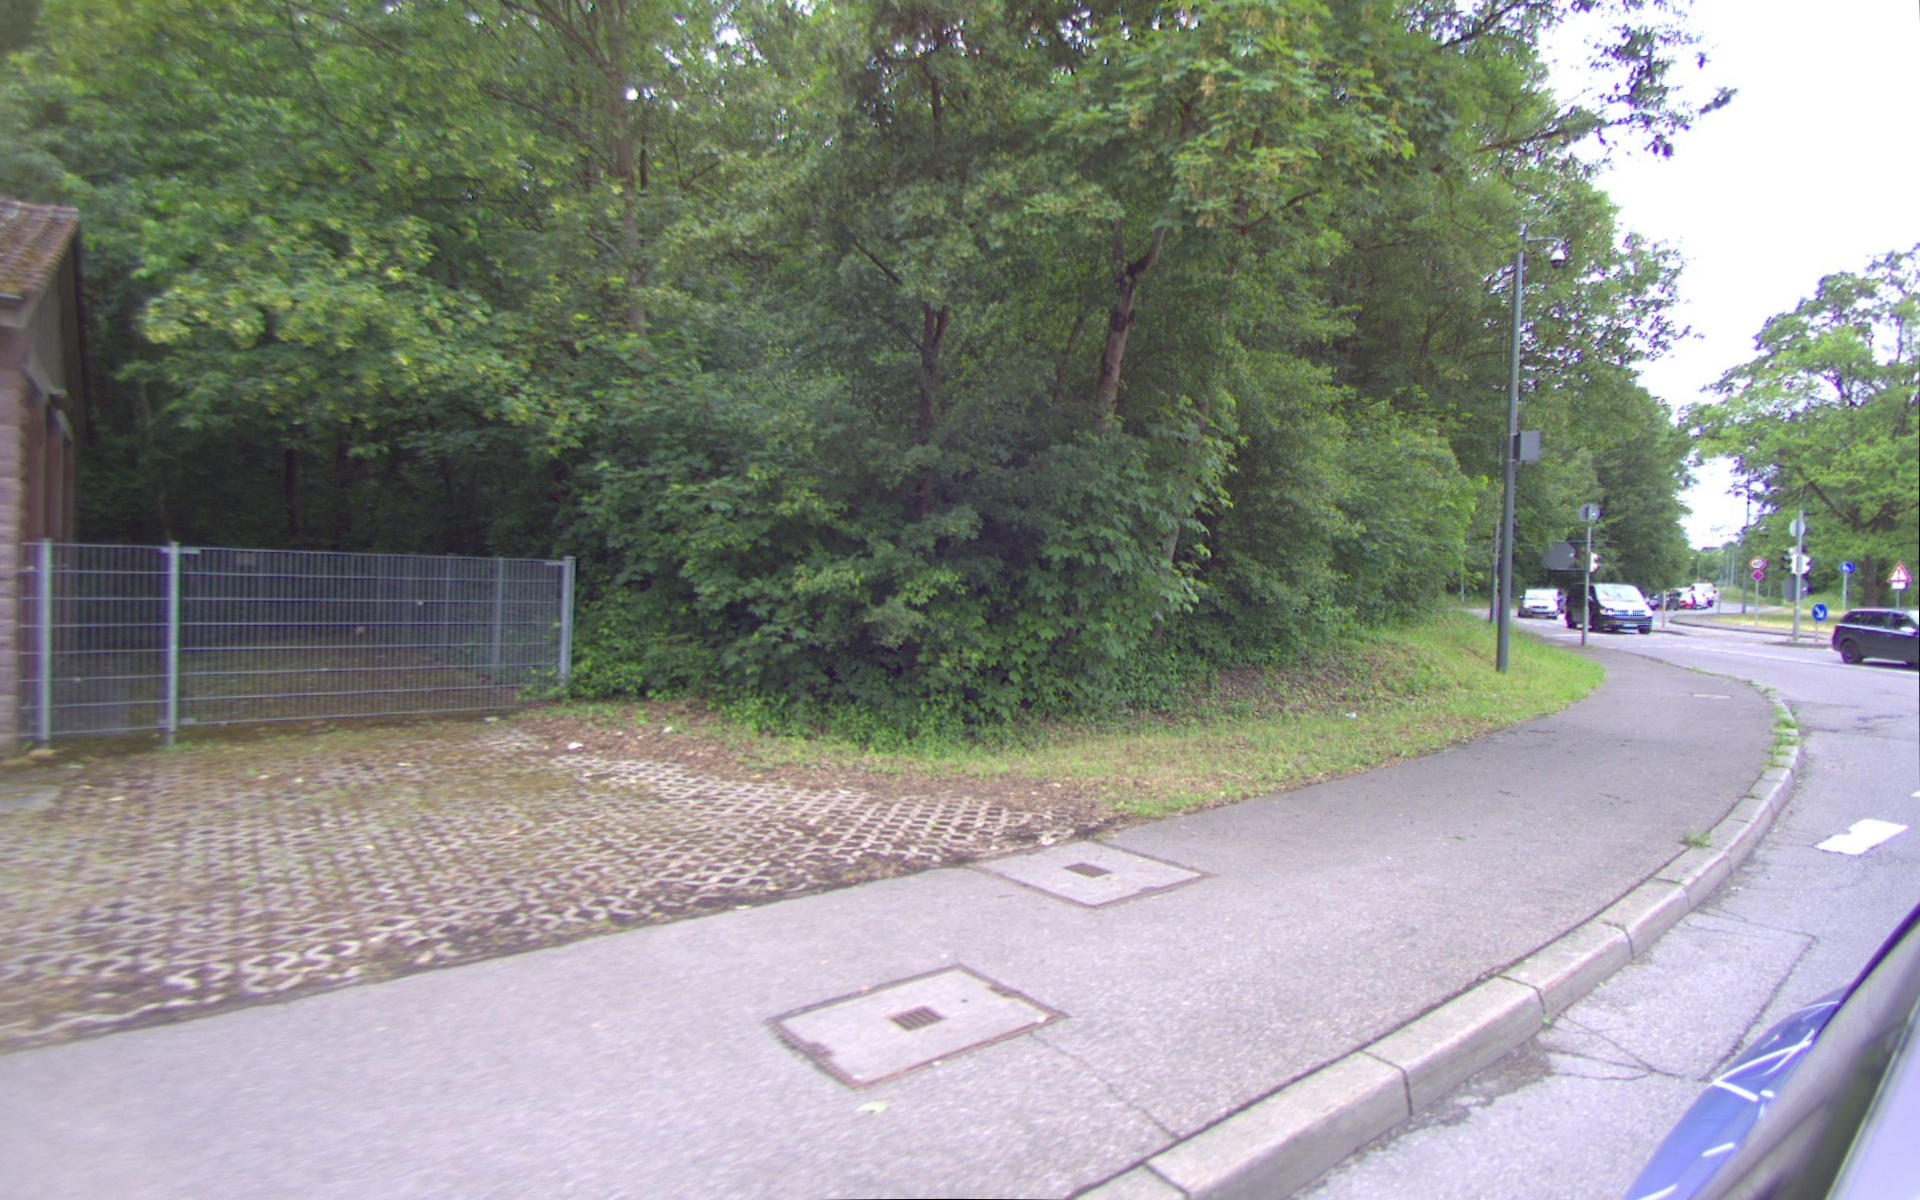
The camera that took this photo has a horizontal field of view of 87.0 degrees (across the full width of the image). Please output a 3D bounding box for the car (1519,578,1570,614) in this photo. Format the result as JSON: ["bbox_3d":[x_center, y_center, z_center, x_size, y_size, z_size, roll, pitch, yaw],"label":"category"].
[{"bbox_3d":[29.932,-0.216,51.911,1.775,1.694,3.958,3,1,24],"label":"car"}]

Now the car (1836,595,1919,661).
[{"bbox_3d":[23.914,0.740,24.544,1.774,1.497,4.463,3,2,7],"label":"car"}]

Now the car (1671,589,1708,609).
[{"bbox_3d":[61.741,-0.068,85.639,3.808,1.518,1.776,0,3,-44],"label":"car"}]

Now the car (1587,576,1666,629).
[{"bbox_3d":[26.653,0.034,40.623,1.973,1.895,4.490,4,3,26],"label":"car"}]

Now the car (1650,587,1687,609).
[{"bbox_3d":[55.645,-0.159,79.484,1.774,1.518,3.812,5,3,43],"label":"car"}]

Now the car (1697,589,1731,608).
[{"bbox_3d":[67.551,-0.140,90.663,3.808,1.518,1.776,0,3,-44],"label":"car"}]

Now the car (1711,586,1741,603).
[{"bbox_3d":[77.743,-0.550,102.657,3.808,1.518,1.776,0,3,-44],"label":"car"}]
